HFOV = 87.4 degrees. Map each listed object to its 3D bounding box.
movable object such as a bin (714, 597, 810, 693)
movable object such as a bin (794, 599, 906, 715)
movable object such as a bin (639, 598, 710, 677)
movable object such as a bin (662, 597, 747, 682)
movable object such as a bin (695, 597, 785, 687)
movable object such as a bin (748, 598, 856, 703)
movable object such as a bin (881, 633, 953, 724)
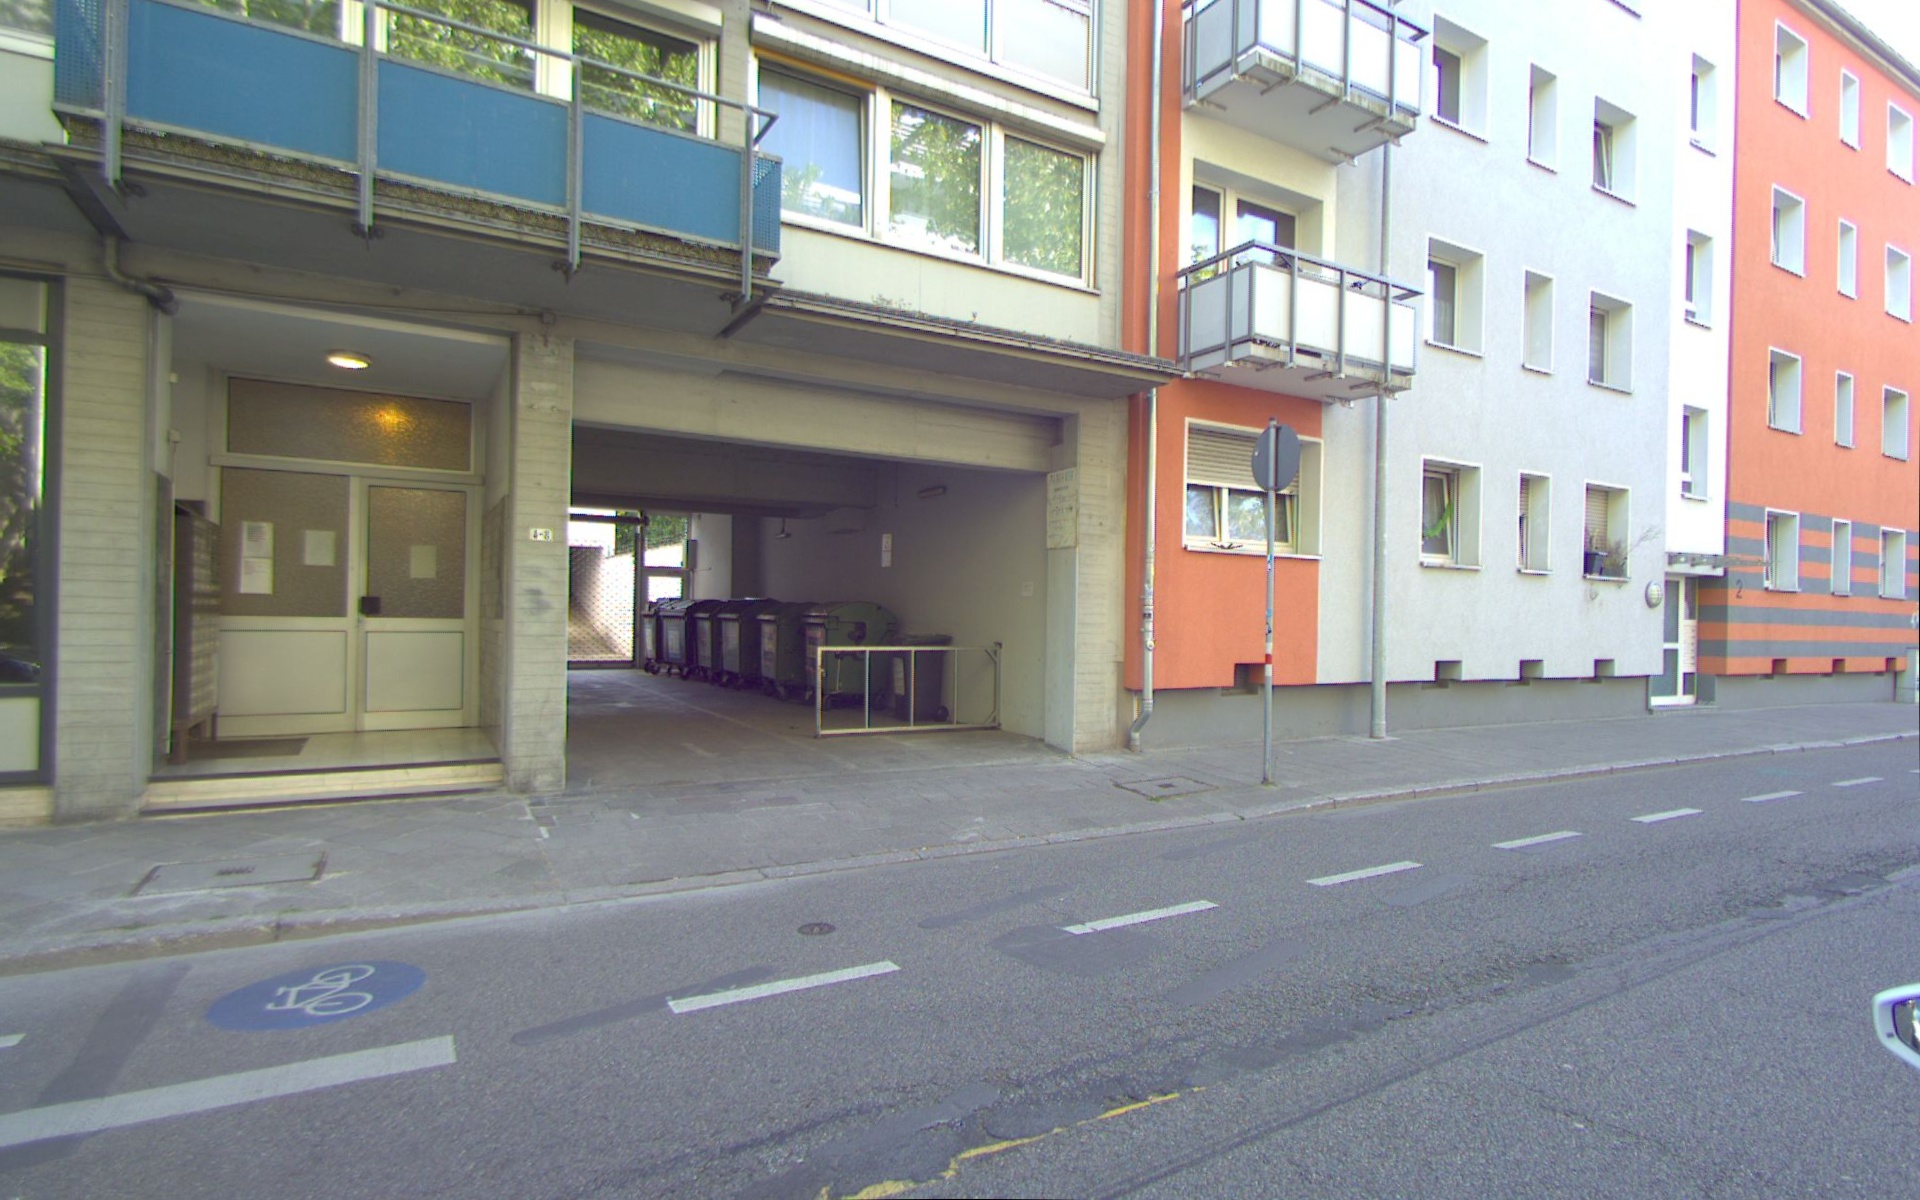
[{"bbox_3d":[-3.295,0.726,16.697,1.264,1.506,1.155,2,0,-28],"label":"movable object such as a bin"},{"bbox_3d":[-1.532,0.755,13.808,1.128,1.484,1.255,2,0,-28],"label":"movable object such as a bin"},{"bbox_3d":[-5.682,0.730,19.944,1.128,1.484,1.129,2,0,-28],"label":"movable object such as a bin"},{"bbox_3d":[-4.763,0.720,18.689,1.264,1.506,1.155,2,0,-28],"label":"movable object such as a bin"},{"bbox_3d":[-3.898,0.728,17.745,1.264,1.515,1.155,2,0,-28],"label":"movable object such as a bin"},{"bbox_3d":[-2.398,0.734,15.161,1.264,1.493,1.265,2,-1,-28],"label":"movable object such as a bin"},{"bbox_3d":[-0.533,0.960,12.455,0.694,1.061,0.567,2,0,-28],"label":"movable object such as a bin"}]
